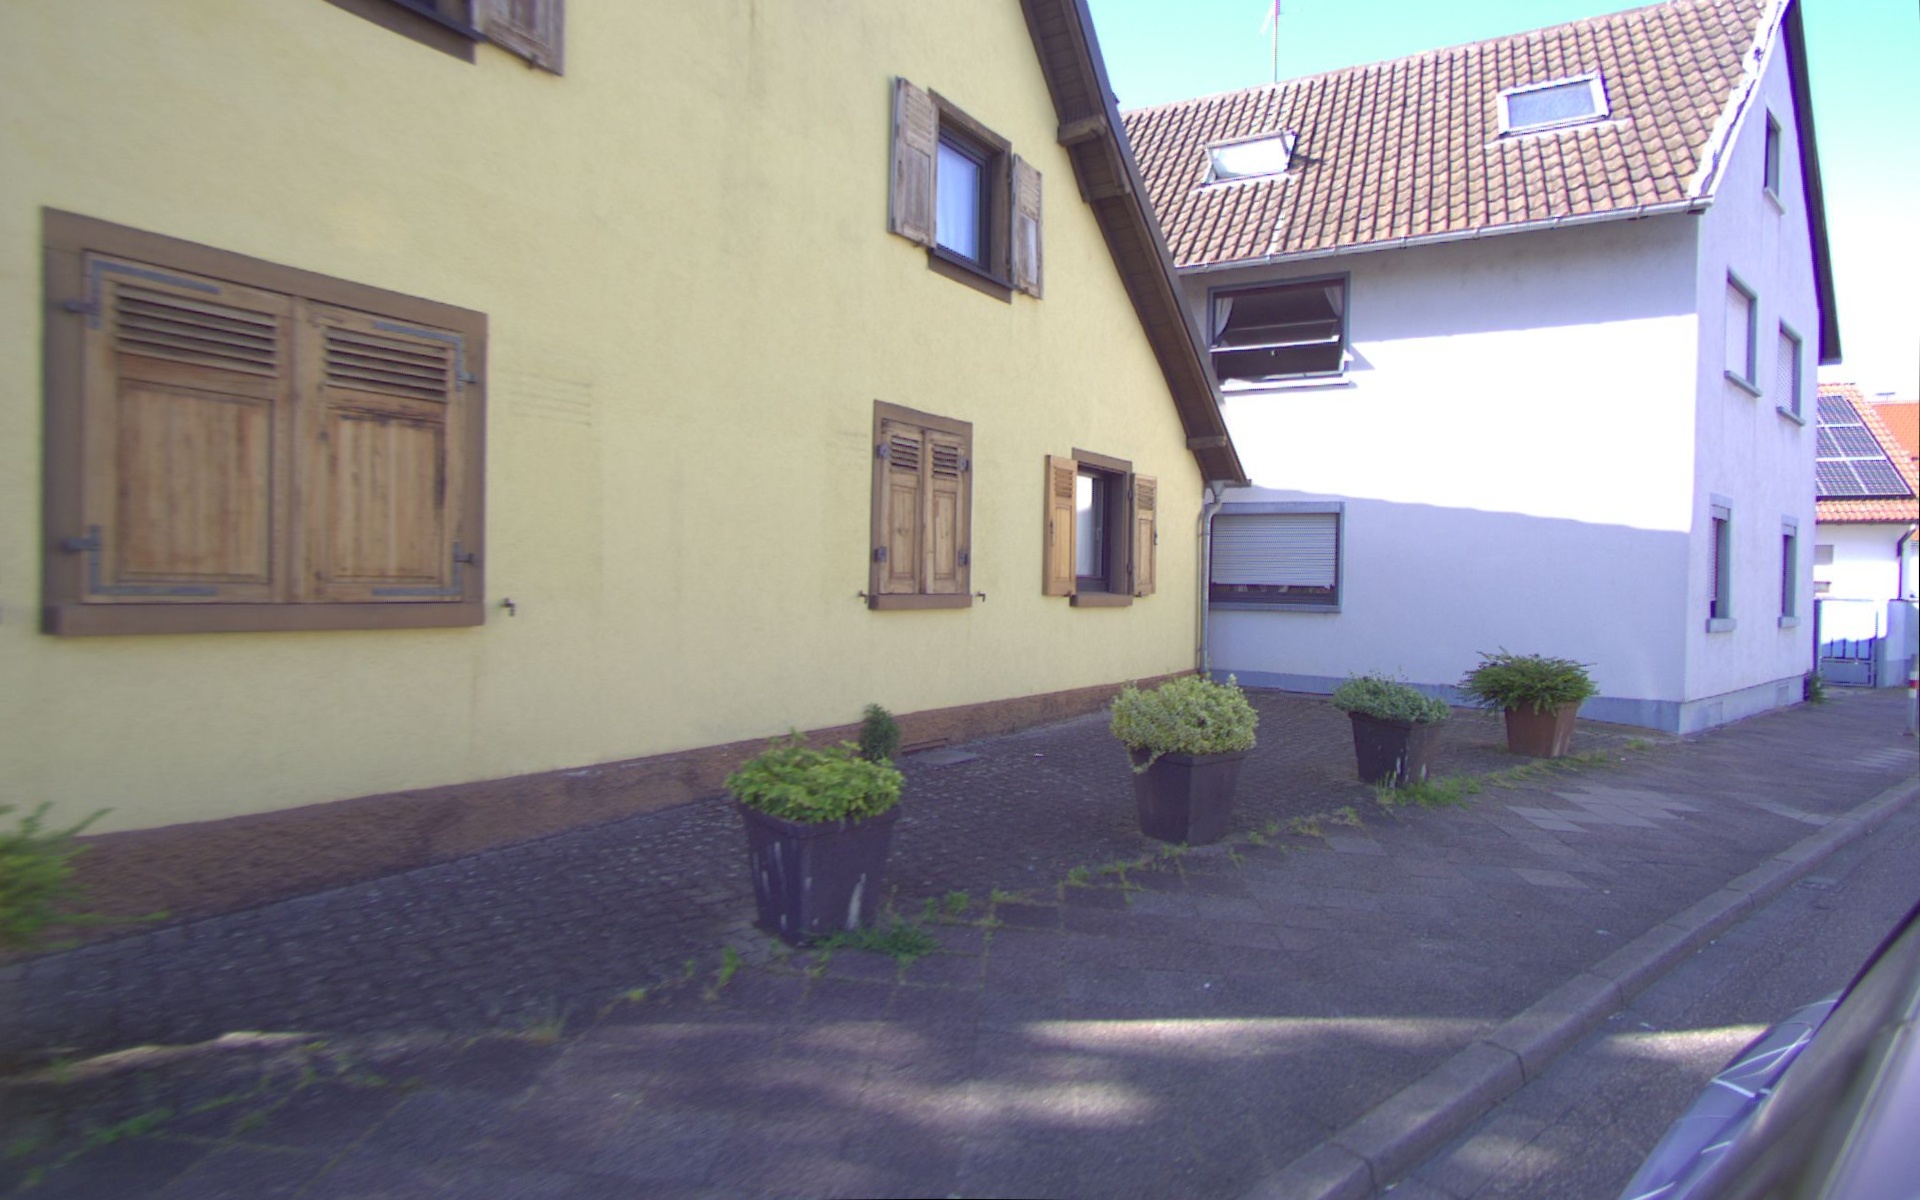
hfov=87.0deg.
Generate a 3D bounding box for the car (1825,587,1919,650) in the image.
[{"bbox_3d":[27.716,0.568,29.086,4.018,1.709,1.890,3,1,32],"label":"car"}]

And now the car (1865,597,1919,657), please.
[{"bbox_3d":[25.982,0.772,25.790,1.808,1.510,3.934,1,2,-23],"label":"car"}]
